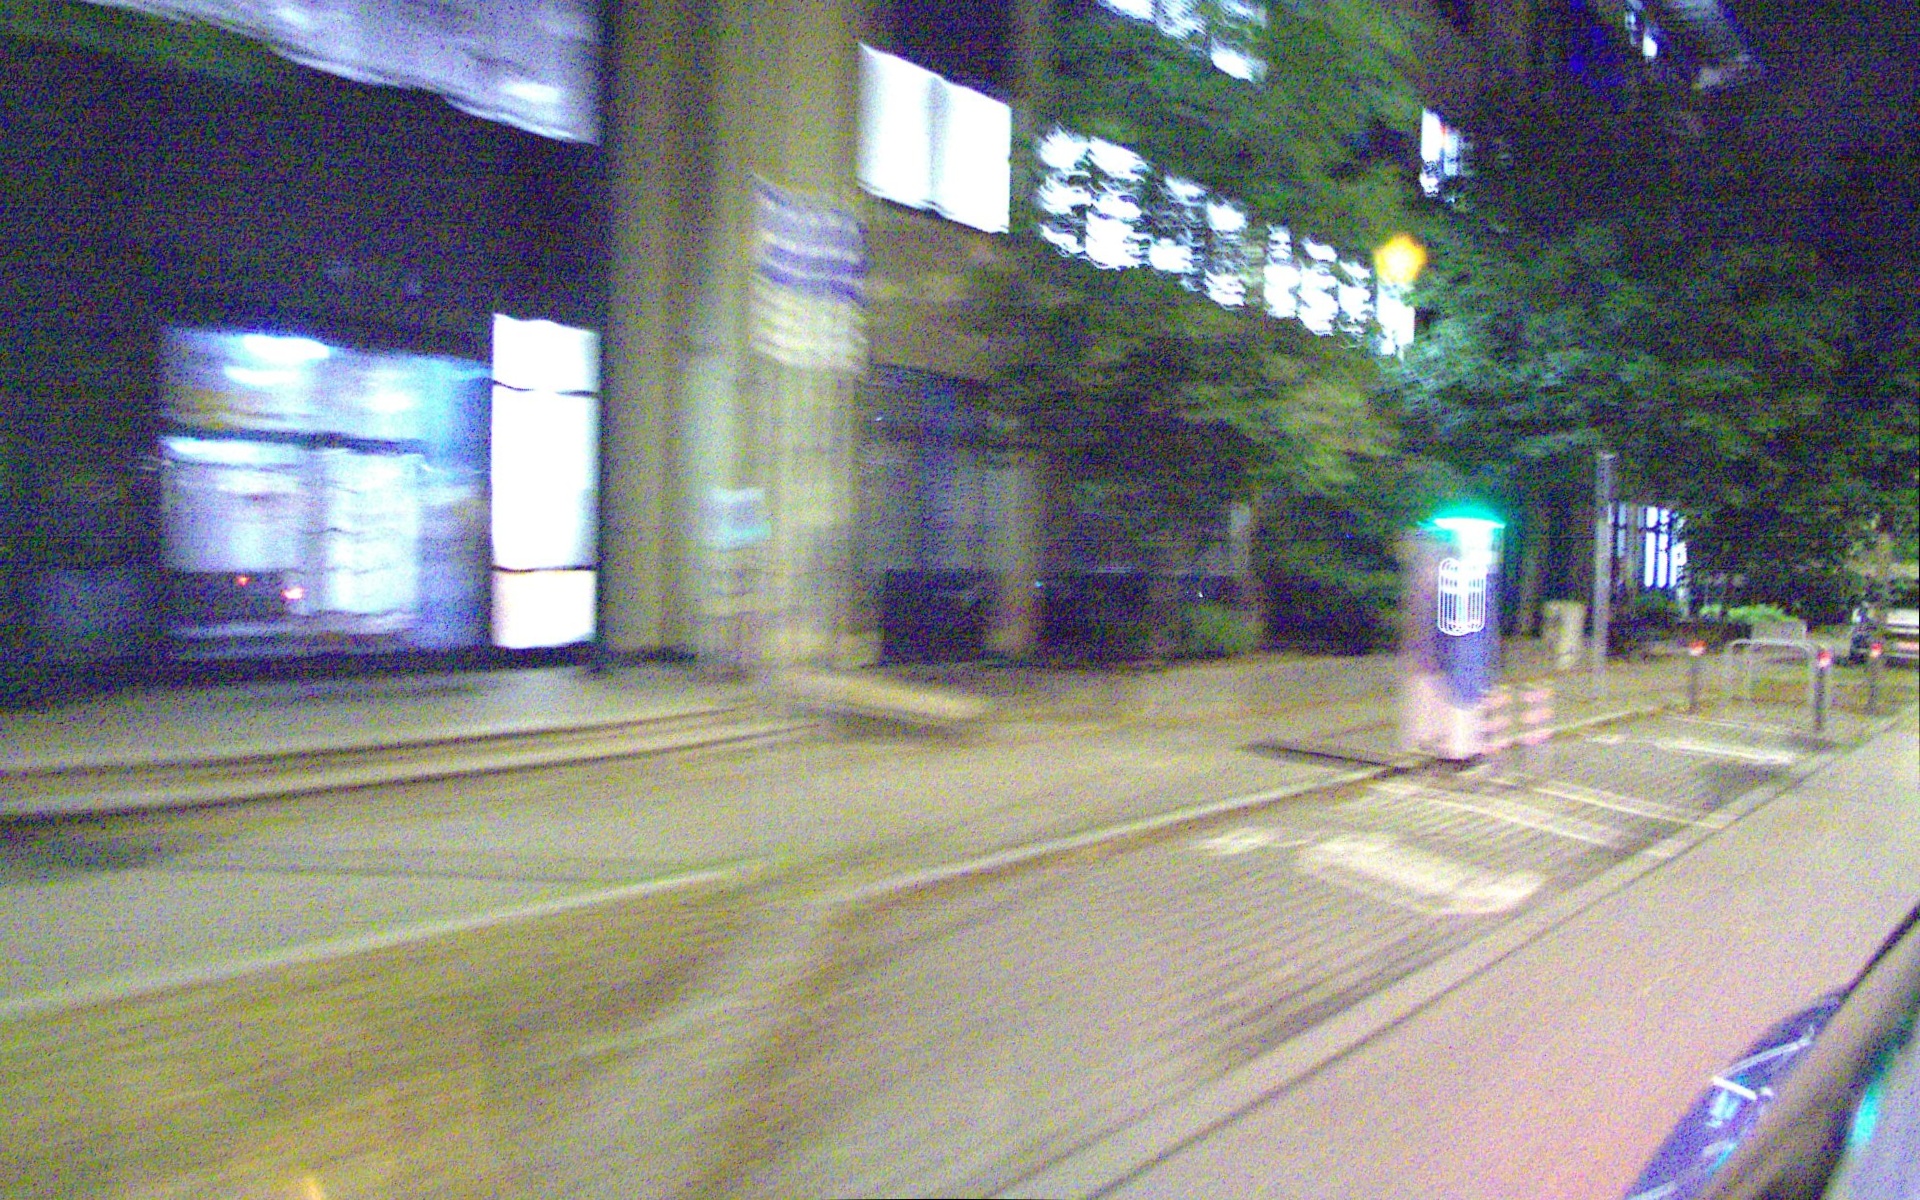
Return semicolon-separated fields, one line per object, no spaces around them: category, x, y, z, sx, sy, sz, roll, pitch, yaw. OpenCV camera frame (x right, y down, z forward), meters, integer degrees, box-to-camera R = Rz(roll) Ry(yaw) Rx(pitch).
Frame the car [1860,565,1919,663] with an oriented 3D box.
car;21.440;0.283;22.260;4.525;1.988;1.954;0;3;-42
